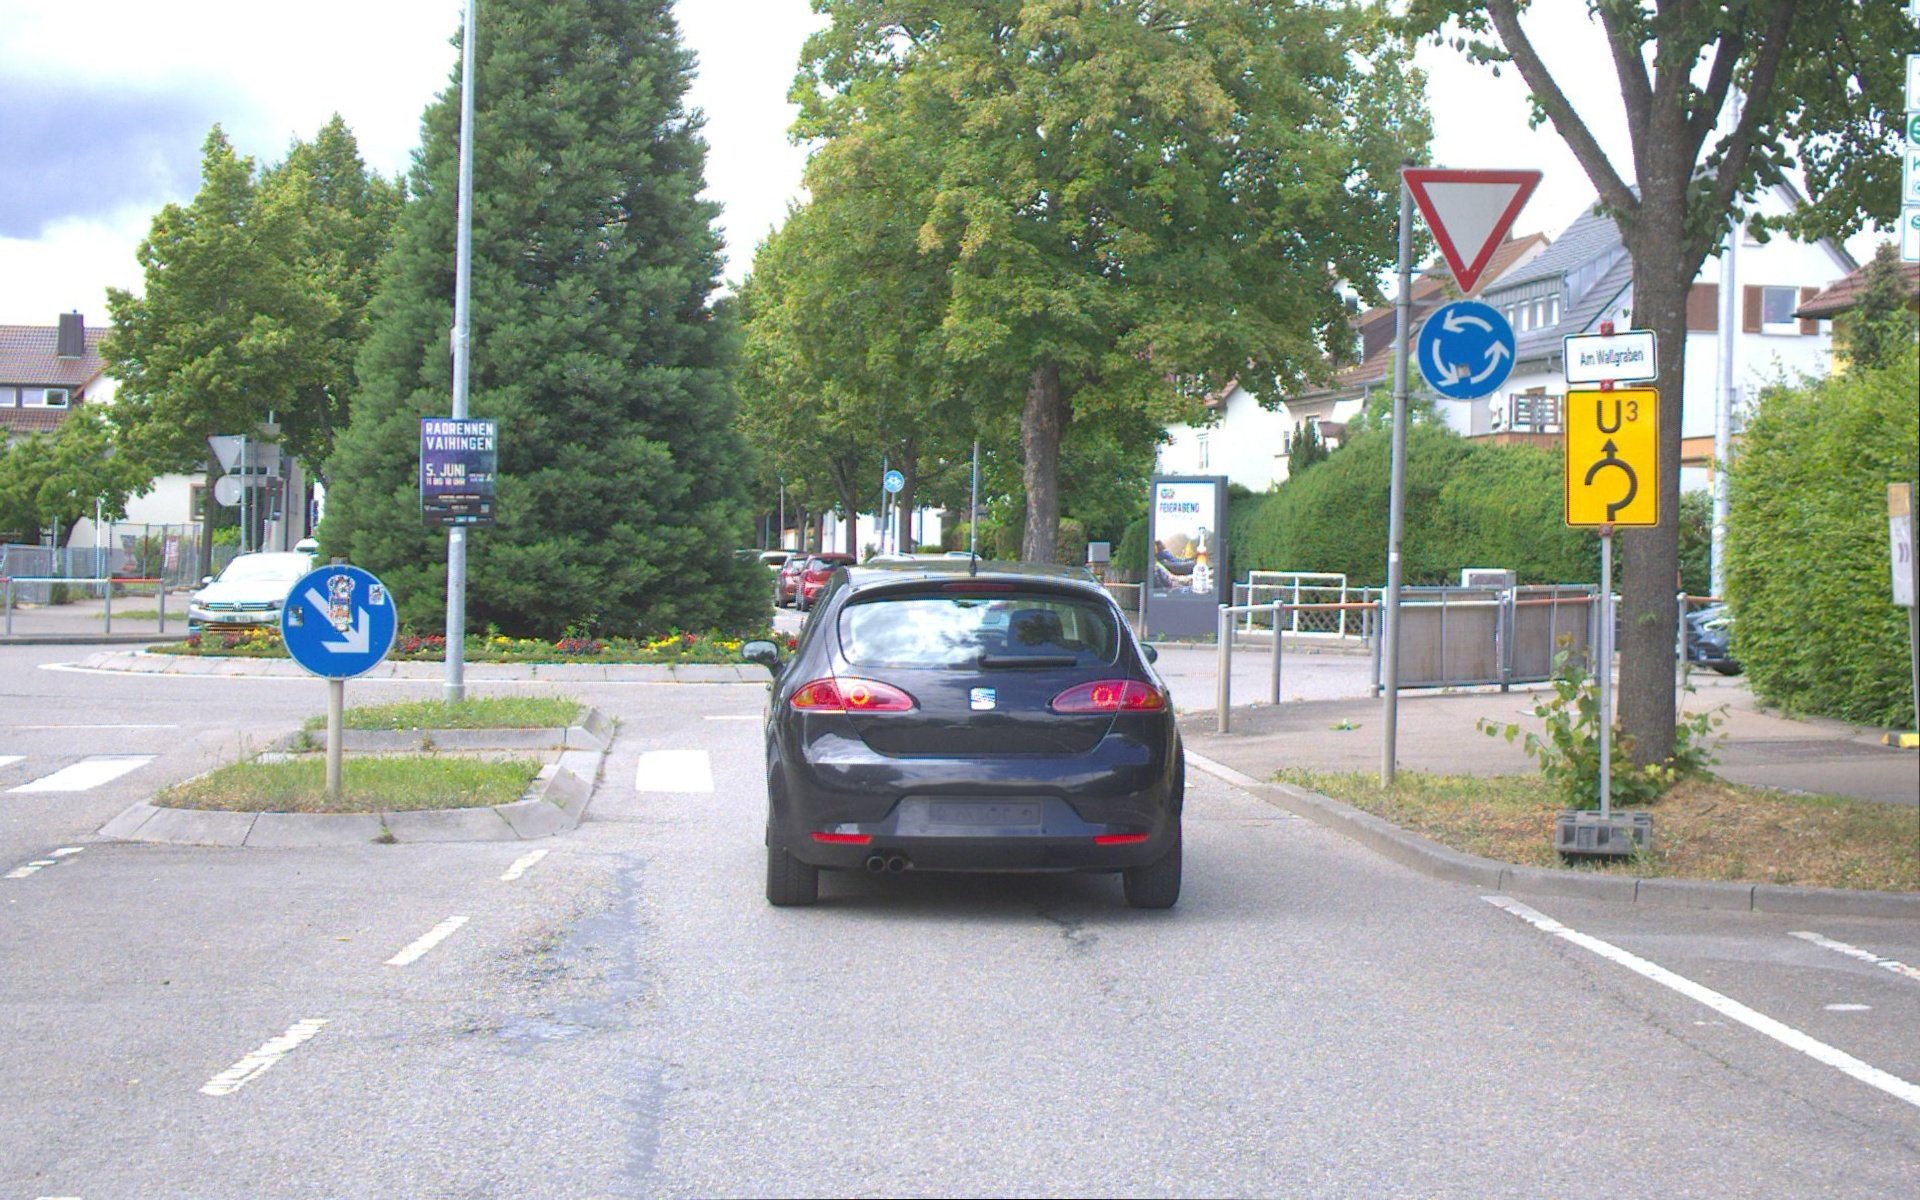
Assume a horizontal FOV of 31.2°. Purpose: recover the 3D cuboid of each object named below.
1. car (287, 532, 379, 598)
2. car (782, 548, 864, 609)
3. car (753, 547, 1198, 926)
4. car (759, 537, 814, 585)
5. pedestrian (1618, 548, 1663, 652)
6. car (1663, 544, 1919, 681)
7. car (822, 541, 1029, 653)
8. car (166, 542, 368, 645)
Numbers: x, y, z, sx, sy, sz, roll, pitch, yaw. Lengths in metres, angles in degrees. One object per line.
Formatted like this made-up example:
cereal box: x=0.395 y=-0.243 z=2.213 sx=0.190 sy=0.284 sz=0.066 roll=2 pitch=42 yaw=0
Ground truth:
car: x=-15.459 y=-0.875 z=84.947 sx=1.797 sy=1.596 sz=4.001 roll=0 pitch=1 yaw=-4
car: x=-3.494 y=-0.562 z=87.375 sx=1.474 sy=1.484 sz=3.383 roll=1 pitch=1 yaw=-13
car: x=-0.056 y=0.510 z=15.493 sx=1.732 sy=1.481 sz=4.001 roll=0 pitch=1 yaw=-4
car: x=-5.535 y=-1.254 z=109.170 sx=1.594 sy=1.505 sz=3.601 roll=0 pitch=1 yaw=-5
pedestrian: x=10.117 y=-0.004 z=51.105 sx=0.491 sy=1.528 sz=0.483 roll=1 pitch=1 yaw=36
car: x=11.515 y=0.167 z=44.511 sx=4.397 sy=1.655 sz=1.650 roll=2 pitch=1 yaw=-2
car: x=-0.578 y=-0.072 z=52.487 sx=1.993 sy=1.607 sz=4.001 roll=1 pitch=1 yaw=-19
car: x=-10.914 y=-0.133 z=54.441 sx=1.869 sy=1.555 sz=4.258 roll=1 pitch=1 yaw=7
